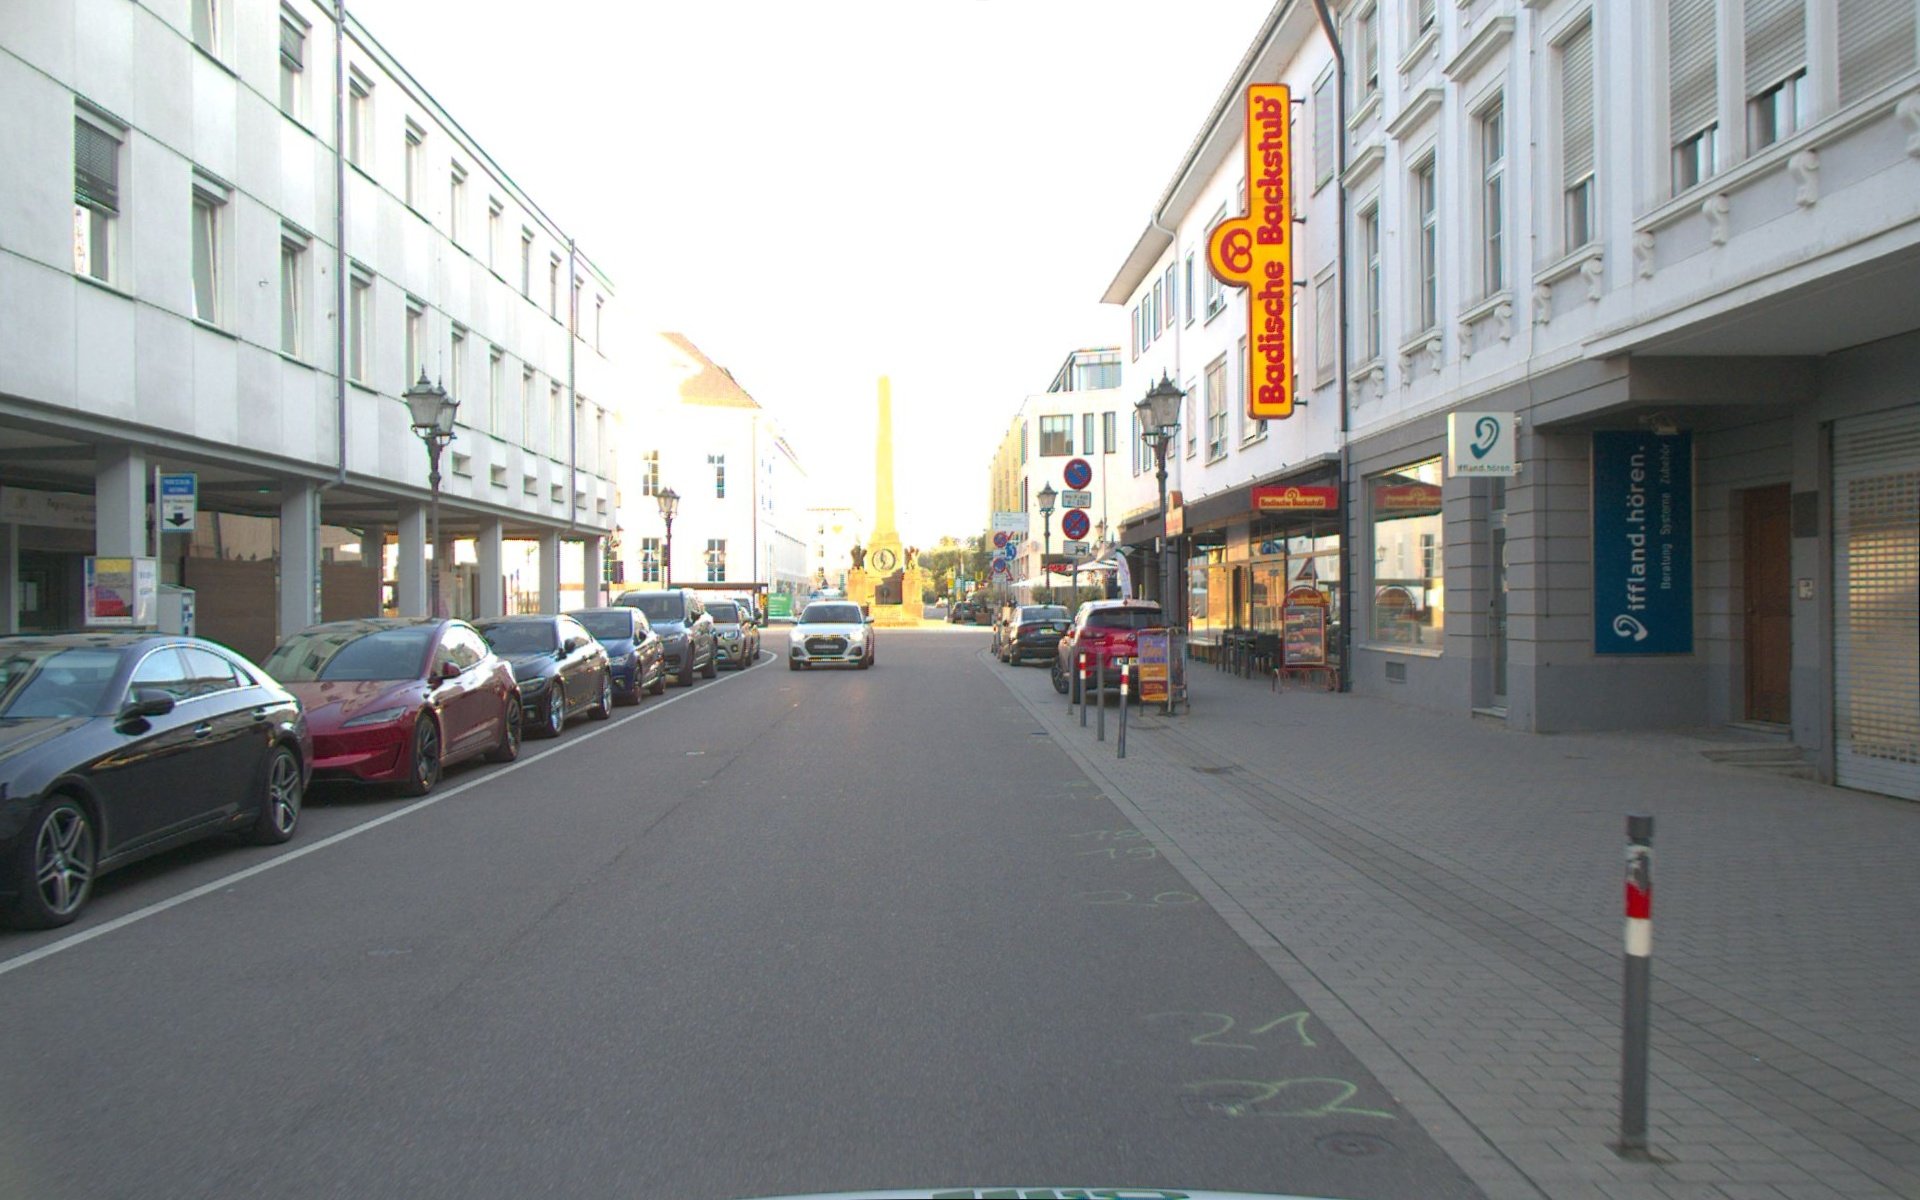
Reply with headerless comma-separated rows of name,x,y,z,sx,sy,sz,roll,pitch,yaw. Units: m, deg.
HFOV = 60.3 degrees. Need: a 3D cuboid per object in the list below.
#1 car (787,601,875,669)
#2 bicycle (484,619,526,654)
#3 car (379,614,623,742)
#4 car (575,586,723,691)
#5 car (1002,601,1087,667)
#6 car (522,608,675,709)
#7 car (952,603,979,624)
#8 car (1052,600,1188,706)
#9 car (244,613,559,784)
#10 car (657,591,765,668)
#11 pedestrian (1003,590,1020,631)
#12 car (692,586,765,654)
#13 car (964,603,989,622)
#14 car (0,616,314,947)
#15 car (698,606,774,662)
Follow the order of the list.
car,-2.856,0.741,37.360,1.728,1.447,3.999,0,0,-1
bicycle,-13.726,1.080,49.963,0.718,1.001,2.334,0,0,-3
car,-5.520,0.884,20.448,1.953,1.378,3.999,0,0,-1
car,-5.747,0.670,31.144,1.953,1.758,4.515,-2,0,-1
car,1.983,0.775,39.910,1.765,1.489,4.116,0,0,-1
car,-5.626,0.858,26.150,1.639,1.424,3.998,-1,0,-2
car,0.408,1.011,121.541,1.953,1.489,4.000,0,0,0
car,2.448,0.770,26.071,1.723,1.550,3.676,0,0,-1
car,-5.351,0.870,16.417,1.748,1.433,4.088,-1,0,0
car,-5.679,0.641,38.148,1.953,1.691,3.999,0,0,-1
pedestrian,2.131,0.439,68.435,0.676,1.676,0.695,-1,0,-2
car,-6.661,0.540,47.577,1.956,1.847,4.775,0,0,-8
car,1.267,0.978,130.032,1.953,1.489,4.000,0,0,0
car,-5.166,0.837,8.944,1.748,1.433,4.088,-1,0,0
car,-5.743,0.842,42.757,1.644,1.377,4.102,0,0,-4
